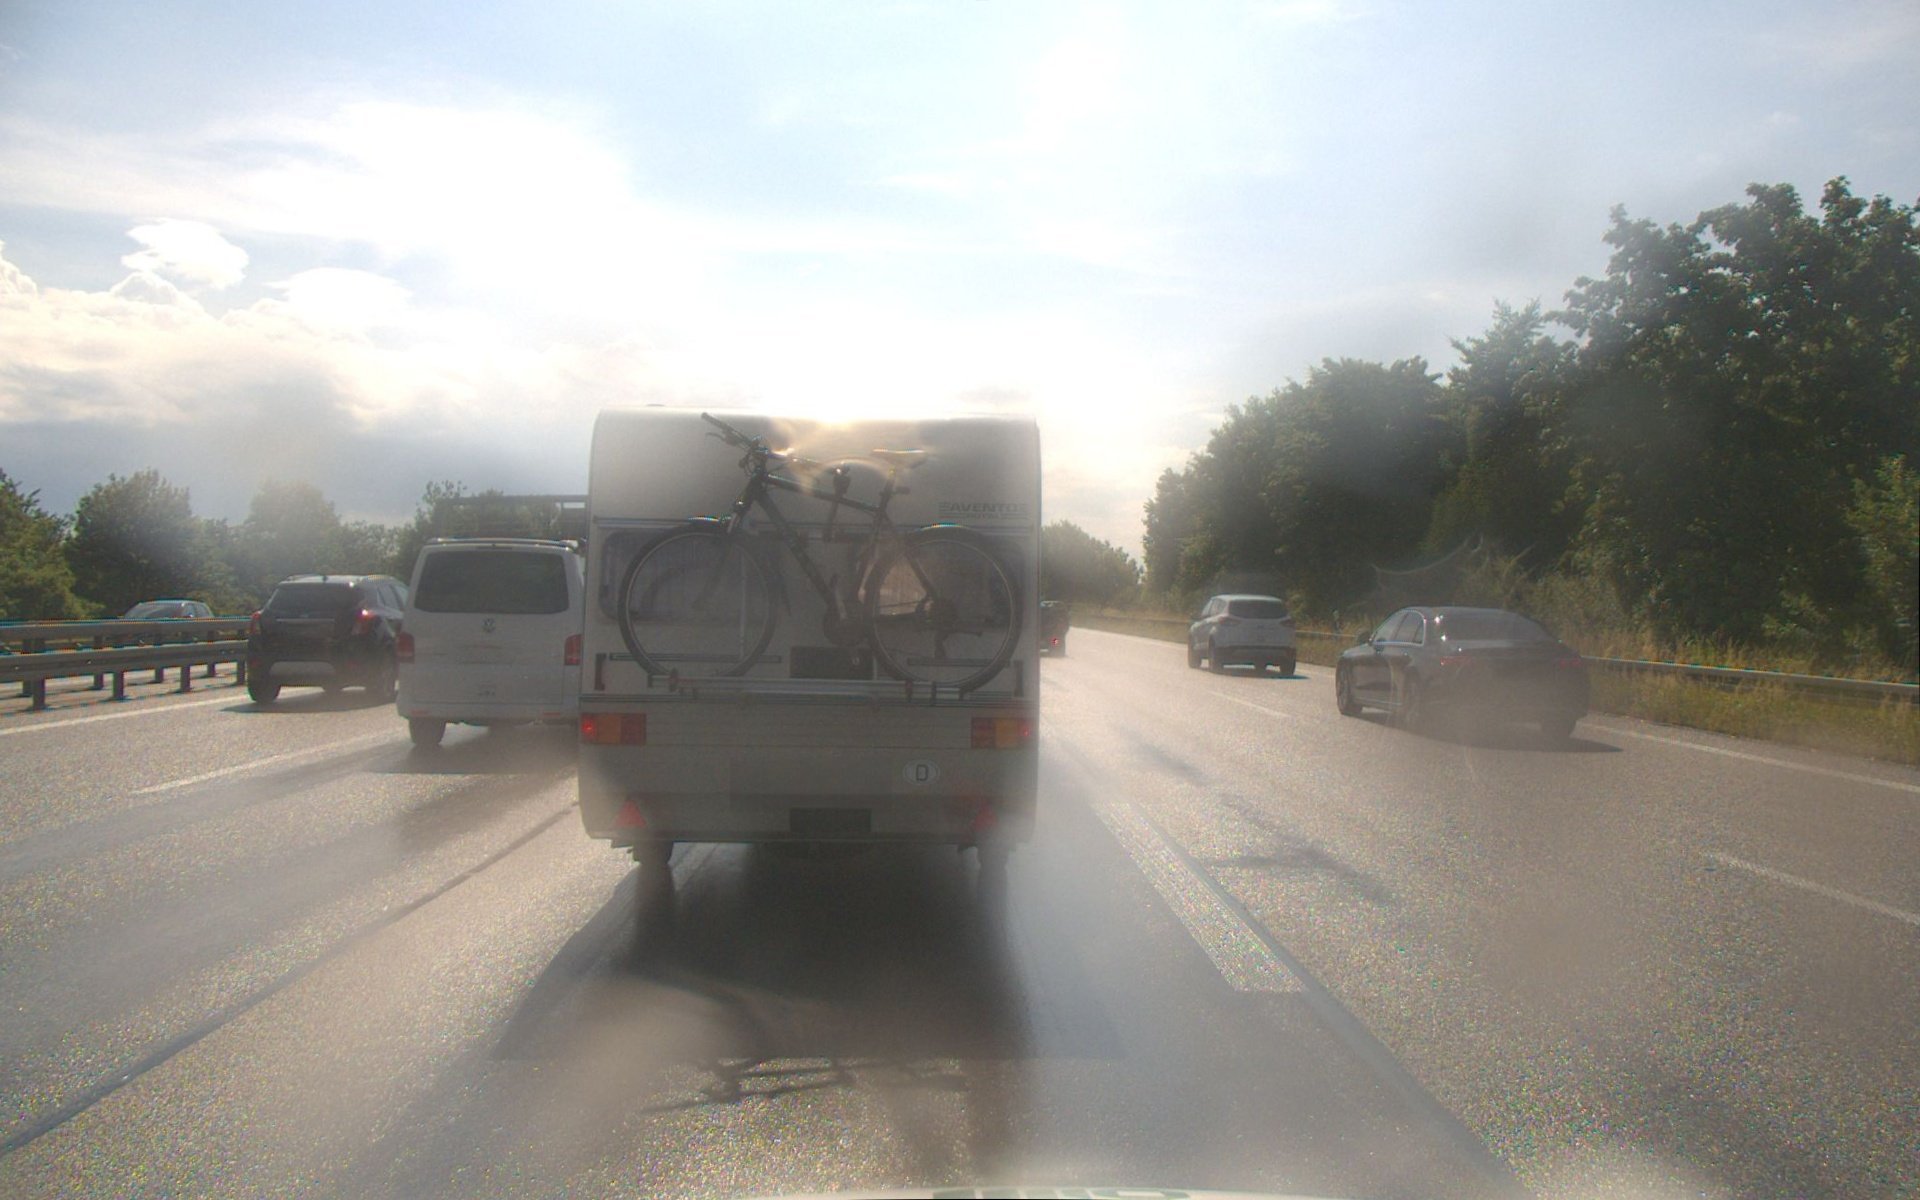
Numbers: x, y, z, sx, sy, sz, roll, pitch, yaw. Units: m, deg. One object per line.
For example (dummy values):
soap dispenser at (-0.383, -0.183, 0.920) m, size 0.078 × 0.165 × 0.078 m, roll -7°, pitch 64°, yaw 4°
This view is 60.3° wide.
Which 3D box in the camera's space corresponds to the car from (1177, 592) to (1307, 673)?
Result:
car at (6.143, 0.684, 36.455) m, size 1.840 × 1.657 × 3.995 m, roll 1°, pitch 0°, yaw -5°

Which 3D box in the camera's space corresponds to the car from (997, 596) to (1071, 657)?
car at (2.027, 0.715, 46.048) m, size 1.798 × 1.585 × 3.999 m, roll 1°, pitch 0°, yaw -1°

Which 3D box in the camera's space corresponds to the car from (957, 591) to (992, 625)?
car at (0.722, 0.388, 84.617) m, size 1.684 × 1.713 × 3.999 m, roll 1°, pitch 0°, yaw -1°

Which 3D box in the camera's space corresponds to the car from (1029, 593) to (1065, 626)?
car at (4.639, 0.473, 88.782) m, size 1.684 × 1.713 × 3.999 m, roll 1°, pitch 0°, yaw -1°

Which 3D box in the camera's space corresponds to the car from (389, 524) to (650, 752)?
car at (-4.386, 0.358, 17.073) m, size 1.839 × 2.049 × 3.997 m, roll 1°, pitch 0°, yaw -4°

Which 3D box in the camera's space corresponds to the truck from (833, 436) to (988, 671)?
truck at (-1.232, -0.935, 38.773) m, size 3.083 × 4.707 × 10.730 m, roll 1°, pitch 0°, yaw -3°

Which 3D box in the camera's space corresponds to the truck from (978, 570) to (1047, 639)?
truck at (1.951, 0.148, 63.675) m, size 2.366 × 2.486 × 6.051 m, roll 1°, pitch 0°, yaw -1°

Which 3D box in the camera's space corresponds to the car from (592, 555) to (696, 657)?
car at (-6.698, 0.116, 35.330) m, size 1.548 × 2.049 × 3.614 m, roll 1°, pitch 0°, yaw -1°

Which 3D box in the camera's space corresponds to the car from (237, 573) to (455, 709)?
car at (-8.356, 0.522, 22.881) m, size 1.737 × 1.691 × 3.997 m, roll 1°, pitch 0°, yaw -4°

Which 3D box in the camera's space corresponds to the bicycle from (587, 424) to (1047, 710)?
bicycle at (-0.596, -0.134, 7.091) m, size 1.894 × 1.161 × 0.384 m, roll 1°, pitch -1°, yaw -2°

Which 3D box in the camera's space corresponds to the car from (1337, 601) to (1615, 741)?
car at (6.137, 0.792, 20.185) m, size 1.840 × 1.521 × 3.995 m, roll 1°, pitch 0°, yaw -5°

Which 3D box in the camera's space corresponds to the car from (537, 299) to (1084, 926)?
car at (-0.682, 0.065, 9.286) m, size 2.361 × 2.721 × 3.999 m, roll 1°, pitch 0°, yaw -1°

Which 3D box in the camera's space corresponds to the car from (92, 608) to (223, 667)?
car at (-20.038, 0.909, 41.419) m, size 1.655 × 1.378 × 3.440 m, roll 1°, pitch 0°, yaw -2°
